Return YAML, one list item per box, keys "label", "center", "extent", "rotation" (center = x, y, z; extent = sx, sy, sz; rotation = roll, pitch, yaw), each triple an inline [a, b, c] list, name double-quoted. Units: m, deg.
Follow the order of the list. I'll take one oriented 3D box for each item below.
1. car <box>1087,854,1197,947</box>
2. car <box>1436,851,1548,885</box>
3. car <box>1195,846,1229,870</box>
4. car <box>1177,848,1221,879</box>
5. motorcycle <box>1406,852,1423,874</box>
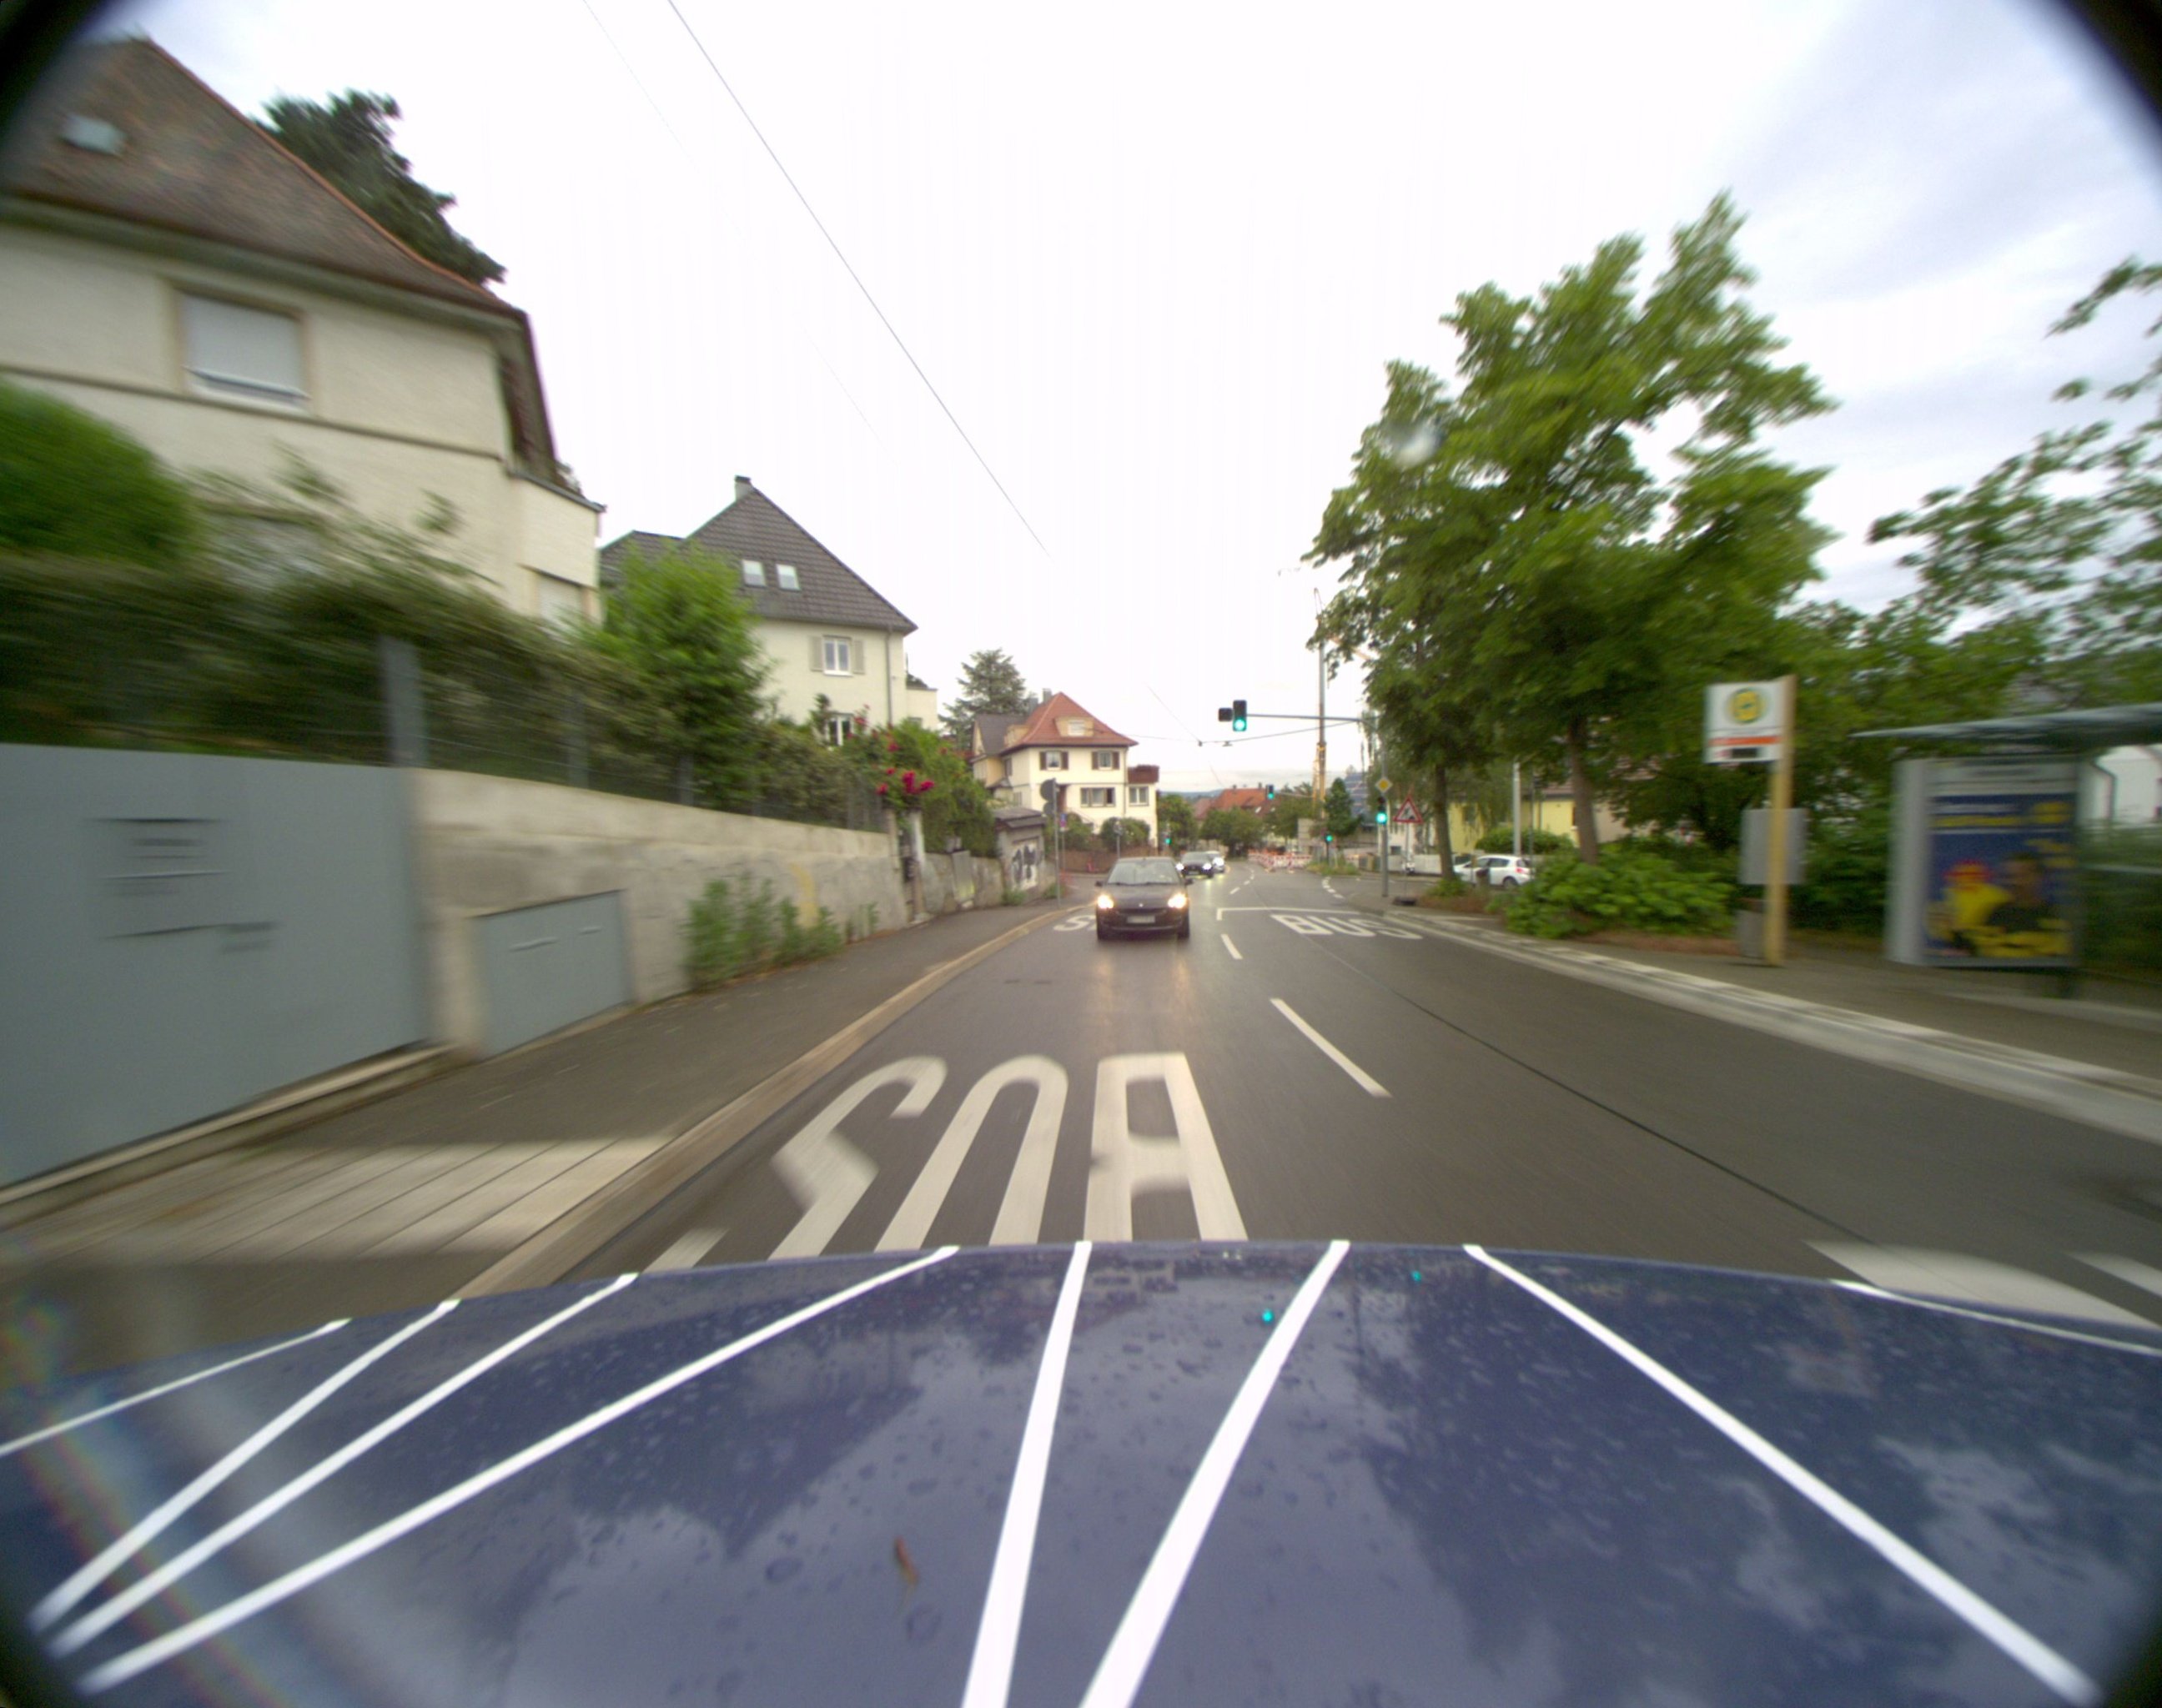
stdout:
- label: "car"
  center: [1.341, 0.798, 14.980]
  extent: [1.803, 1.418, 4.385]
  rotation: [-2, 1, 8]
- label: "car"
  center: [18.468, 0.572, 34.334]
  extent: [1.966, 1.407, 4.014]
  rotation: [-1, 1, -32]
- label: "car"
  center: [9.922, 0.273, 57.359]
  extent: [2.028, 1.619, 4.232]
  rotation: [-2, 0, 16]
- label: "car"
  center: [6.462, 0.467, 41.197]
  extent: [2.029, 1.454, 4.003]
  rotation: [-2, 1, 13]
- label: "motorcycle"
  center: [17.680, 0.459, 40.334]
  extent: [0.473, 1.138, 1.423]
  rotation: [0, 1, 8]
